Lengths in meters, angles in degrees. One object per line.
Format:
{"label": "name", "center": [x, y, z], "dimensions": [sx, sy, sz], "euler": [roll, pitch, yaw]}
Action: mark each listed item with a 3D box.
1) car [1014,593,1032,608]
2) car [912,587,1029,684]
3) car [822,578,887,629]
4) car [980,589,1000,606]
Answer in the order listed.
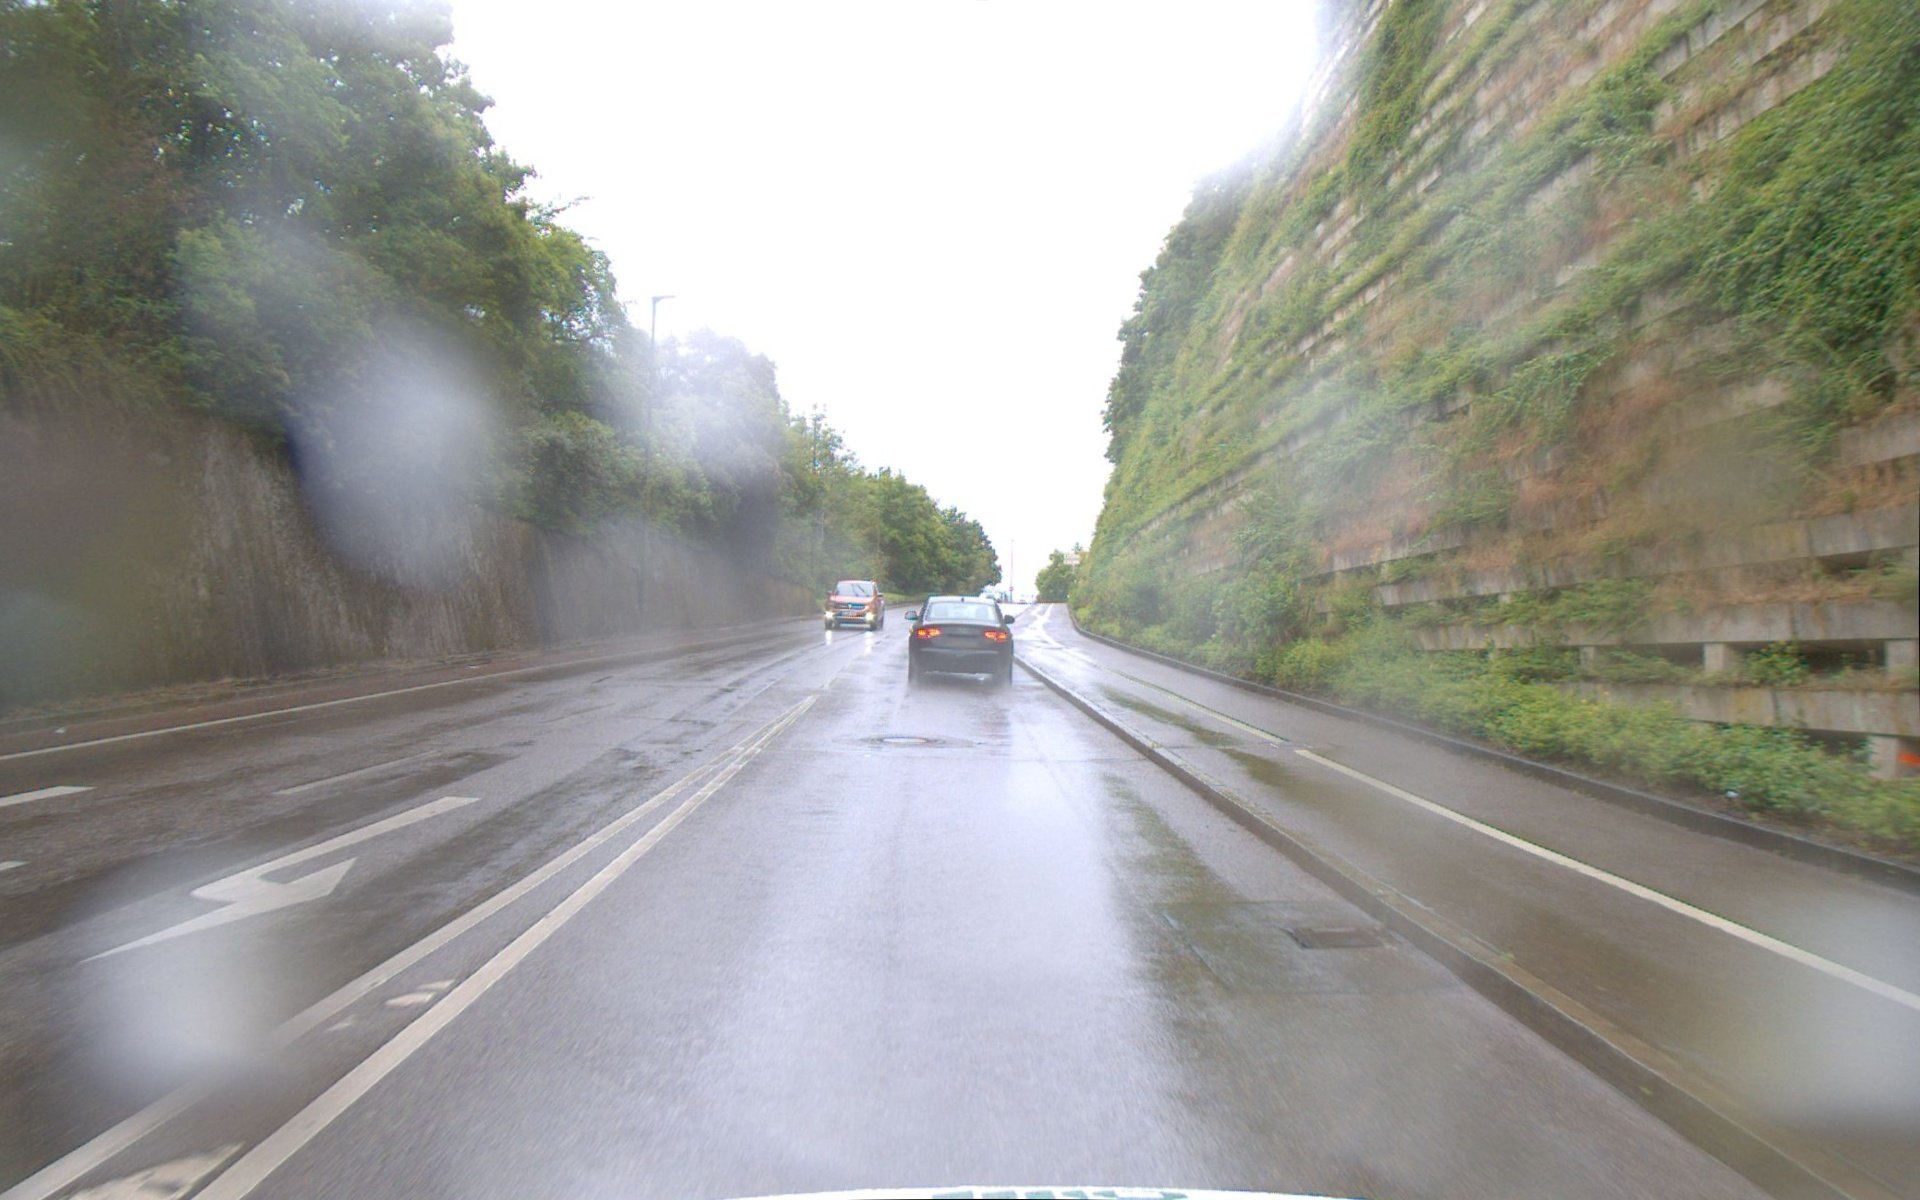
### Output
{"label": "car", "center": [7.126, 0.096, 187.840], "dimensions": [1.784, 1.643, 4.095], "euler": [1, -1, 5]}
{"label": "car", "center": [0.201, 0.599, 28.532], "dimensions": [1.854, 1.518, 4.207], "euler": [1, -1, 1]}
{"label": "car", "center": [-3.508, 0.125, 55.665], "dimensions": [1.696, 1.646, 4.001], "euler": [1, 0, 3]}
{"label": "car", "center": [2.874, -0.241, 155.933], "dimensions": [1.826, 1.474, 4.378], "euler": [0, -1, 2]}
